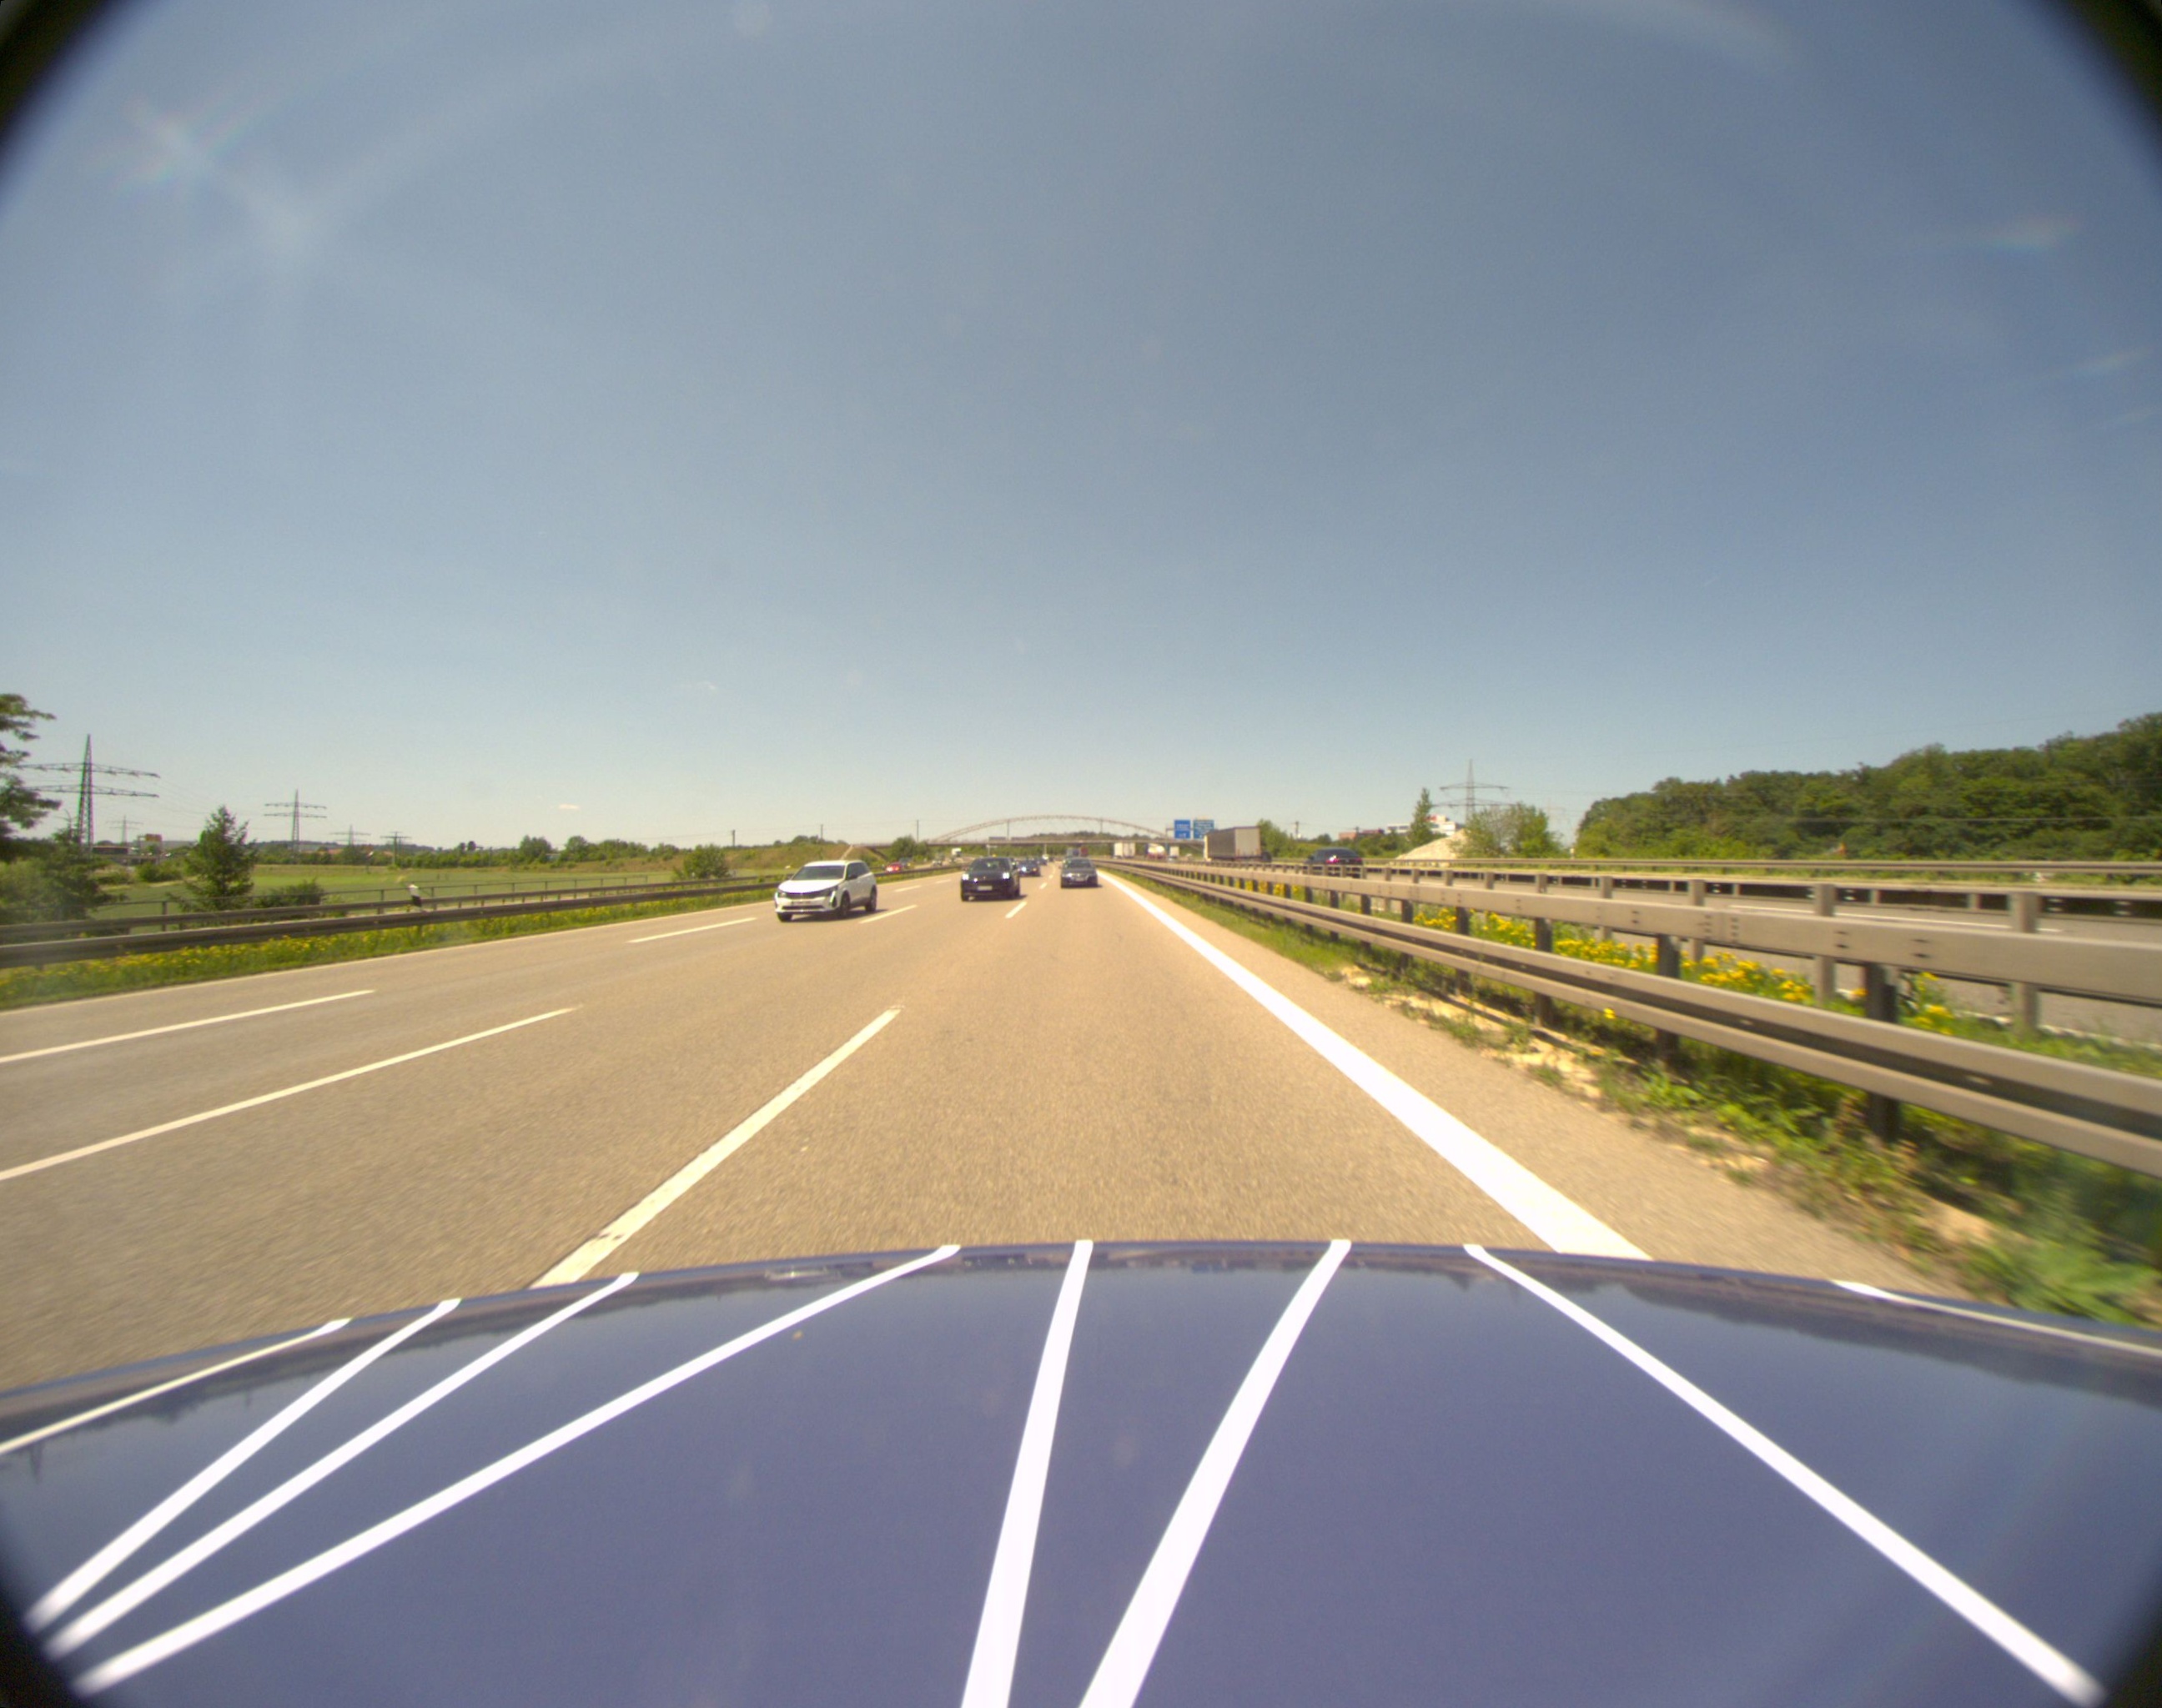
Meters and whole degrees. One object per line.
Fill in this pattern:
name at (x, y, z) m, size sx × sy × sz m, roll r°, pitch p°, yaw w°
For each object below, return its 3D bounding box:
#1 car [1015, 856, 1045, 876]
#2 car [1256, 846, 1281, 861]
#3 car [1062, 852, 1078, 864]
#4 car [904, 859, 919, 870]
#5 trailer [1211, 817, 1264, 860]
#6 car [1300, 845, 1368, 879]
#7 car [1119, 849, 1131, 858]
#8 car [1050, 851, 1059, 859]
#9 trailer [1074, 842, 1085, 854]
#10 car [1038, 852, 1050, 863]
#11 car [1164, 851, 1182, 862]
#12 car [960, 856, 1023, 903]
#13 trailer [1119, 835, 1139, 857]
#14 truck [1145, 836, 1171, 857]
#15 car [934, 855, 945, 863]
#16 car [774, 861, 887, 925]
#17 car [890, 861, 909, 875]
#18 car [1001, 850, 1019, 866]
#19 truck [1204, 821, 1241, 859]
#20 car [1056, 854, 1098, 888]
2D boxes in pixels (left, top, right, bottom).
car at (-4.000, 0.935, 59.902) m, size 1.931 × 1.390 × 4.118 m, roll -2°, pitch 1°, yaw 2°
car at (21.573, -0.032, 87.576) m, size 1.883 × 1.604 × 3.999 m, roll -2°, pitch 0°, yaw -1°
car at (-1.448, 0.493, 98.134) m, size 1.932 × 1.390 × 4.115 m, roll -2°, pitch 1°, yaw -4°
car at (-27.077, 1.657, 121.399) m, size 1.705 × 1.566 × 4.125 m, roll -2°, pitch 1°, yaw -6°
trailer at (16.338, -1.542, 80.363) m, size 2.898 × 4.089 × 12.584 m, roll -2°, pitch 0°, yaw 0°
car at (13.150, 0.393, 39.817) m, size 1.998 × 1.635 × 4.663 m, roll -2°, pitch 0°, yaw 0°
car at (7.856, -0.088, 136.476) m, size 1.852 × 1.588 × 4.409 m, roll -2°, pitch 0°, yaw 0°
car at (-6.537, 0.140, 185.395) m, size 1.999 × 1.849 × 3.998 m, roll -2°, pitch 1°, yaw -3°
trailer at (-0.712, -2.108, 267.483) m, size 2.954 × 4.317 × 14.614 m, roll -2°, pitch 1°, yaw -3°
car at (-6.346, 0.564, 131.136) m, size 1.926 × 1.761 × 3.998 m, roll -2°, pitch 1°, yaw -5°
car at (12.196, 0.289, 100.678) m, size 1.710 × 1.352 × 4.497 m, roll -2°, pitch 0°, yaw 0°
car at (-3.350, 0.919, 29.210) m, size 1.931 × 1.586 × 4.131 m, roll -2°, pitch 1°, yaw -1°
trailer at (9.680, -1.648, 154.774) m, size 2.963 × 4.346 × 10.729 m, roll -2°, pitch 1°, yaw -2°
truck at (14.554, -1.421, 145.014) m, size 3.227 × 3.763 × 12.897 m, roll -2°, pitch 0°, yaw -2°
car at (-30.526, 1.141, 164.061) m, size 1.704 × 1.566 × 4.126 m, roll -2°, pitch 1°, yaw -3°
car at (-7.254, 1.052, 22.489) m, size 1.748 × 1.582 × 4.619 m, roll -2°, pitch 1°, yaw 0°
car at (-22.970, 1.761, 96.368) m, size 1.705 × 1.566 × 4.125 m, roll -2°, pitch 1°, yaw -6°
car at (-8.545, 0.442, 91.444) m, size 1.809 × 1.908 × 4.293 m, roll -2°, pitch 1°, yaw -2°
truck at (16.293, -1.554, 87.868) m, size 2.888 × 4.093 × 6.383 m, roll -2°, pitch 0°, yaw 0°
car at (-0.196, 0.793, 38.026) m, size 1.931 × 1.499 × 4.390 m, roll -2°, pitch 1°, yaw 0°
